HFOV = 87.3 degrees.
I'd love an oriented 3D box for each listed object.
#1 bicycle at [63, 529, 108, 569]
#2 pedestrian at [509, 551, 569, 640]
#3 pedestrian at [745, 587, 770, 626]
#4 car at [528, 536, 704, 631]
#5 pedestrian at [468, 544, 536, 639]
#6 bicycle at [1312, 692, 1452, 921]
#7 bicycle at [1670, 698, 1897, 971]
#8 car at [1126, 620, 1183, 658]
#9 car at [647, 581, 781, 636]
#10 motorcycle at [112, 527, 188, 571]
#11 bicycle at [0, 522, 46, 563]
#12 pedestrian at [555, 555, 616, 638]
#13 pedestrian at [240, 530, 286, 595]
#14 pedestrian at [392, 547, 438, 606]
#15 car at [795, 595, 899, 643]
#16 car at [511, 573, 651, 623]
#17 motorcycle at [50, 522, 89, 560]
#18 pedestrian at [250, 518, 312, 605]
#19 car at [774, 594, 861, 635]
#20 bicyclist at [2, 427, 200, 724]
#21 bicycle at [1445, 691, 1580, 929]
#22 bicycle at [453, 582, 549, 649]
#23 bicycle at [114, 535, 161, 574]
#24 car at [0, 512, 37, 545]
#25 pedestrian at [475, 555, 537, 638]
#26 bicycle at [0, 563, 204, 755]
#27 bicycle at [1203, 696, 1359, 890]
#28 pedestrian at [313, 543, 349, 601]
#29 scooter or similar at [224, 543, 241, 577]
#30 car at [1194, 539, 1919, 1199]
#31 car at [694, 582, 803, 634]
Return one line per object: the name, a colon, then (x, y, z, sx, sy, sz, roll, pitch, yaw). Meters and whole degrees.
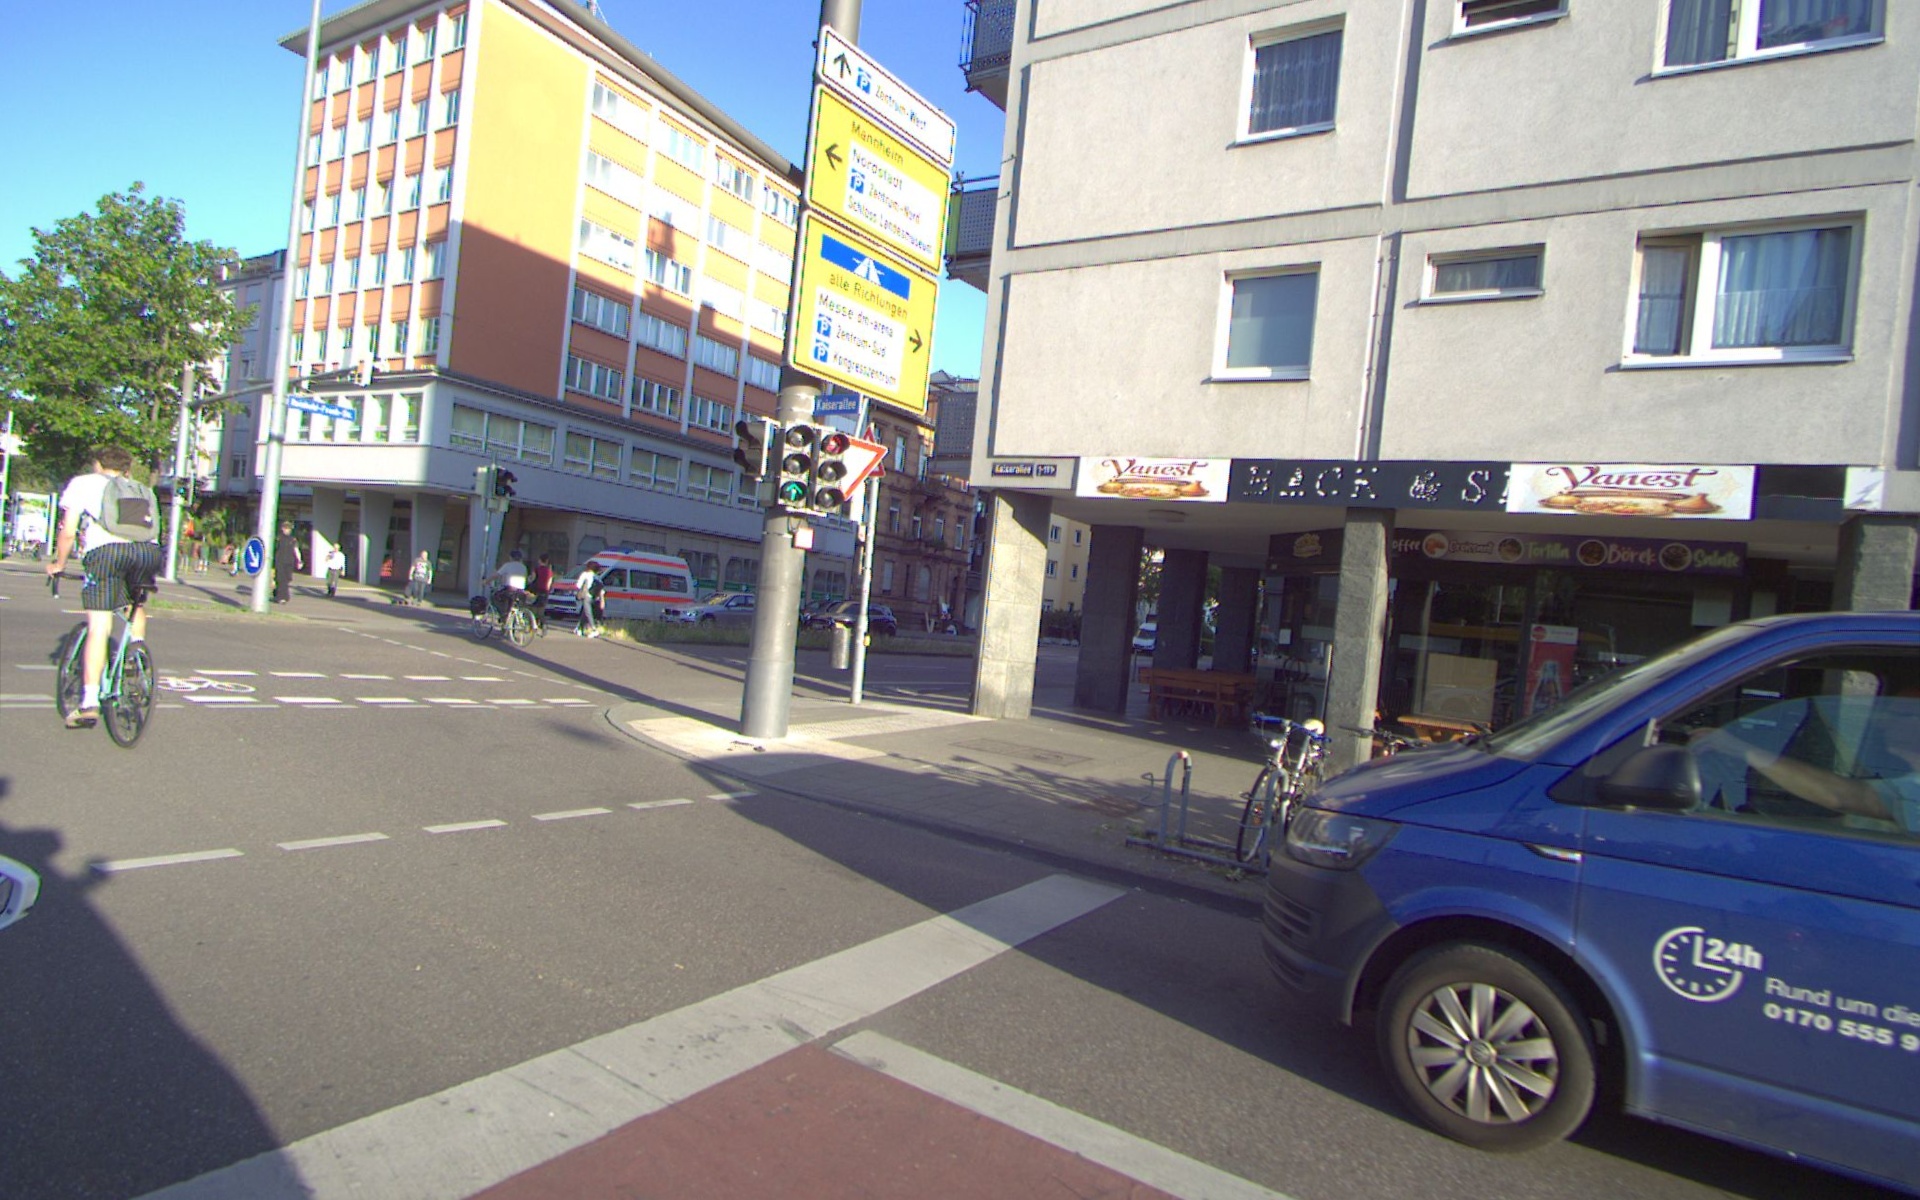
bicycle: (-29.935, -1.752, 34.431, 1.844, 1.141, 0.645, 7, 1, 34)
pedestrian: (-8.430, -0.081, 20.143, 0.734, 1.683, 0.682, 6, 1, 33)
pedestrian: (-9.865, 0.306, 48.964, 0.629, 1.778, 0.817, 7, 1, 34)
car: (-11.047, -0.463, 32.757, 1.894, 2.513, 5.256, 6, -1, 32)
pedestrian: (-8.125, -0.145, 17.850, 0.749, 1.609, 0.676, 4, -1, 30)
bicycle: (2.882, 1.282, 6.767, 0.596, 1.141, 1.869, 6, 2, 28)
bicycle: (4.674, 1.236, 5.849, 0.558, 1.141, 1.869, 6, 2, 28)
car: (15.358, 3.082, 79.267, 2.090, 2.554, 6.417, 6, 0, 31)
car: (-7.828, 0.321, 32.318, 1.777, 1.393, 3.991, 5, -1, 32)
motorcycle: (-30.887, -1.940, 38.387, 0.749, 1.423, 2.042, 6, 0, 39)
bicycle: (-30.763, -1.903, 33.001, 1.844, 1.141, 0.645, 7, 1, 34)
pedestrian: (-8.117, -0.077, 21.808, 0.891, 1.683, 0.728, 6, 1, 33)
pedestrian: (-18.398, -0.983, 26.571, 0.735, 1.609, 0.681, 7, 1, 37)
pedestrian: (-17.456, -0.750, 32.211, 1.010, 1.723, 0.783, 6, 1, 33)
car: (-4.314, 0.769, 38.901, 1.759, 1.482, 3.990, 6, -1, 33)
car: (-14.087, -0.029, 37.637, 1.810, 1.357, 4.665, 6, -1, 33)
motorcycle: (-33.567, -2.240, 37.907, 2.168, 1.258, 0.665, 6, 0, 39)
pedestrian: (-14.522, -0.820, 21.523, 1.055, 1.726, 0.661, 6, 1, 37)
car: (-6.966, 0.733, 49.563, 1.968, 1.593, 3.989, 6, 0, 34)
bicyclist: (-5.756, -0.163, 6.742, 0.978, 1.830, 0.674, 6, 0, 36)
bicycle: (3.542, 1.247, 6.496, 0.558, 1.141, 1.869, 6, 2, 28)
bicycle: (-8.132, 0.268, 17.812, 1.819, 0.993, 0.521, 6, 1, 30)
bicycle: (-29.166, -1.621, 35.658, 2.090, 1.172, 0.645, 7, 1, 34)
car: (-47.402, -3.579, 49.973, 1.716, 1.491, 3.863, 3, 1, -35)
pedestrian: (-8.827, -0.068, 19.555, 0.734, 1.518, 0.682, 6, 1, 33)
bicycle: (-5.773, 0.353, 6.730, 1.828, 1.040, 0.575, 6, 0, 37)
bicycle: (2.314, 1.268, 7.094, 0.597, 1.074, 1.871, 6, 0, 29)
pedestrian: (-19.771, -0.877, 31.623, 0.799, 1.723, 0.569, 6, 1, 33)
scooter or similar: (-28.738, -1.576, 39.722, 0.413, 1.270, 1.170, 6, 0, -38)
car: (3.484, 1.020, 3.353, 4.752, 1.957, 1.939, 6, 0, 32)
car: (-7.950, 0.344, 38.172, 1.570, 1.590, 4.077, 6, 0, 31)
